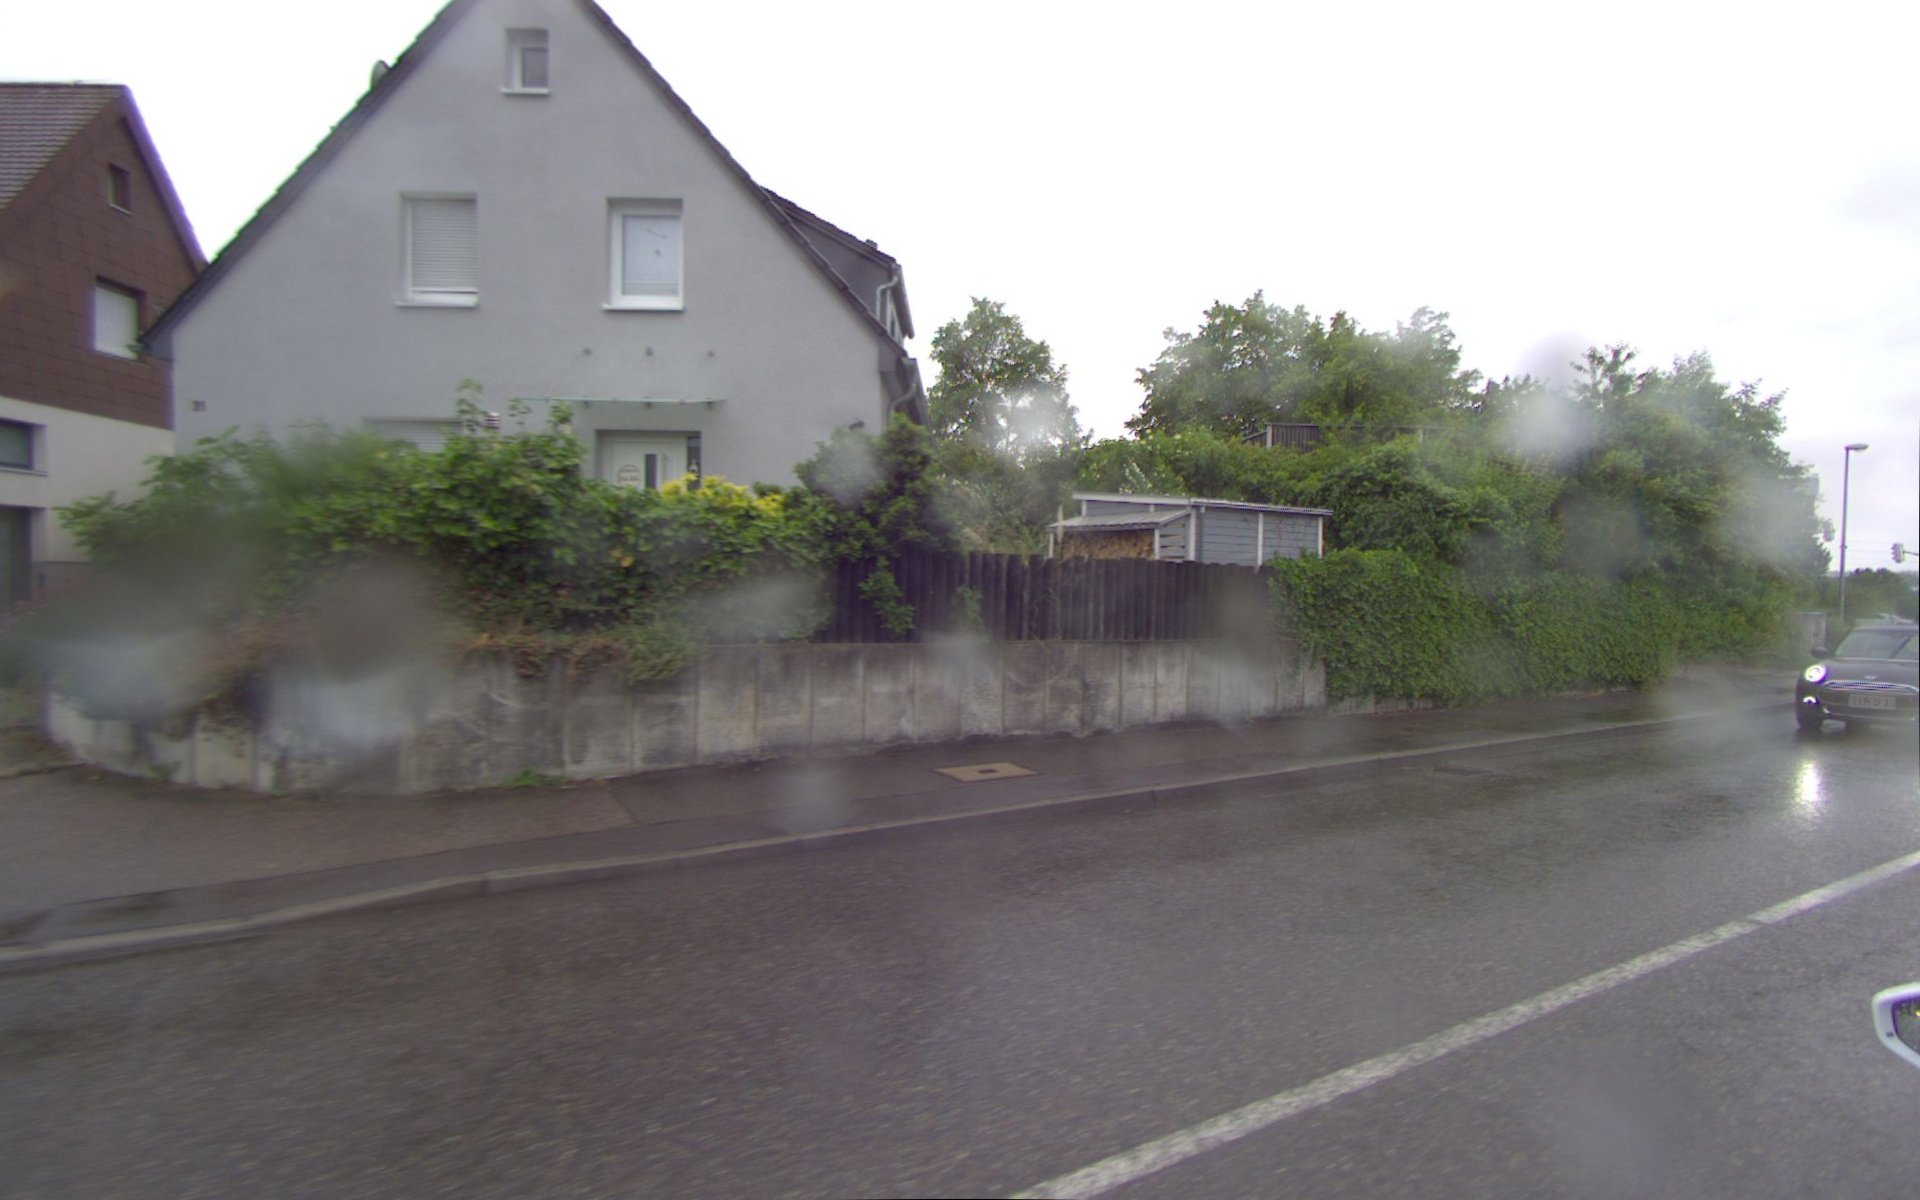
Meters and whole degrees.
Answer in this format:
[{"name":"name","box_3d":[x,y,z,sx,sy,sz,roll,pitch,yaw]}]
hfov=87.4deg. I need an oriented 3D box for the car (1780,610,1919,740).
[{"name":"car","box_3d":[13.165,0.955,13.798,3.956,1.544,1.794,1,1,-33]}]
